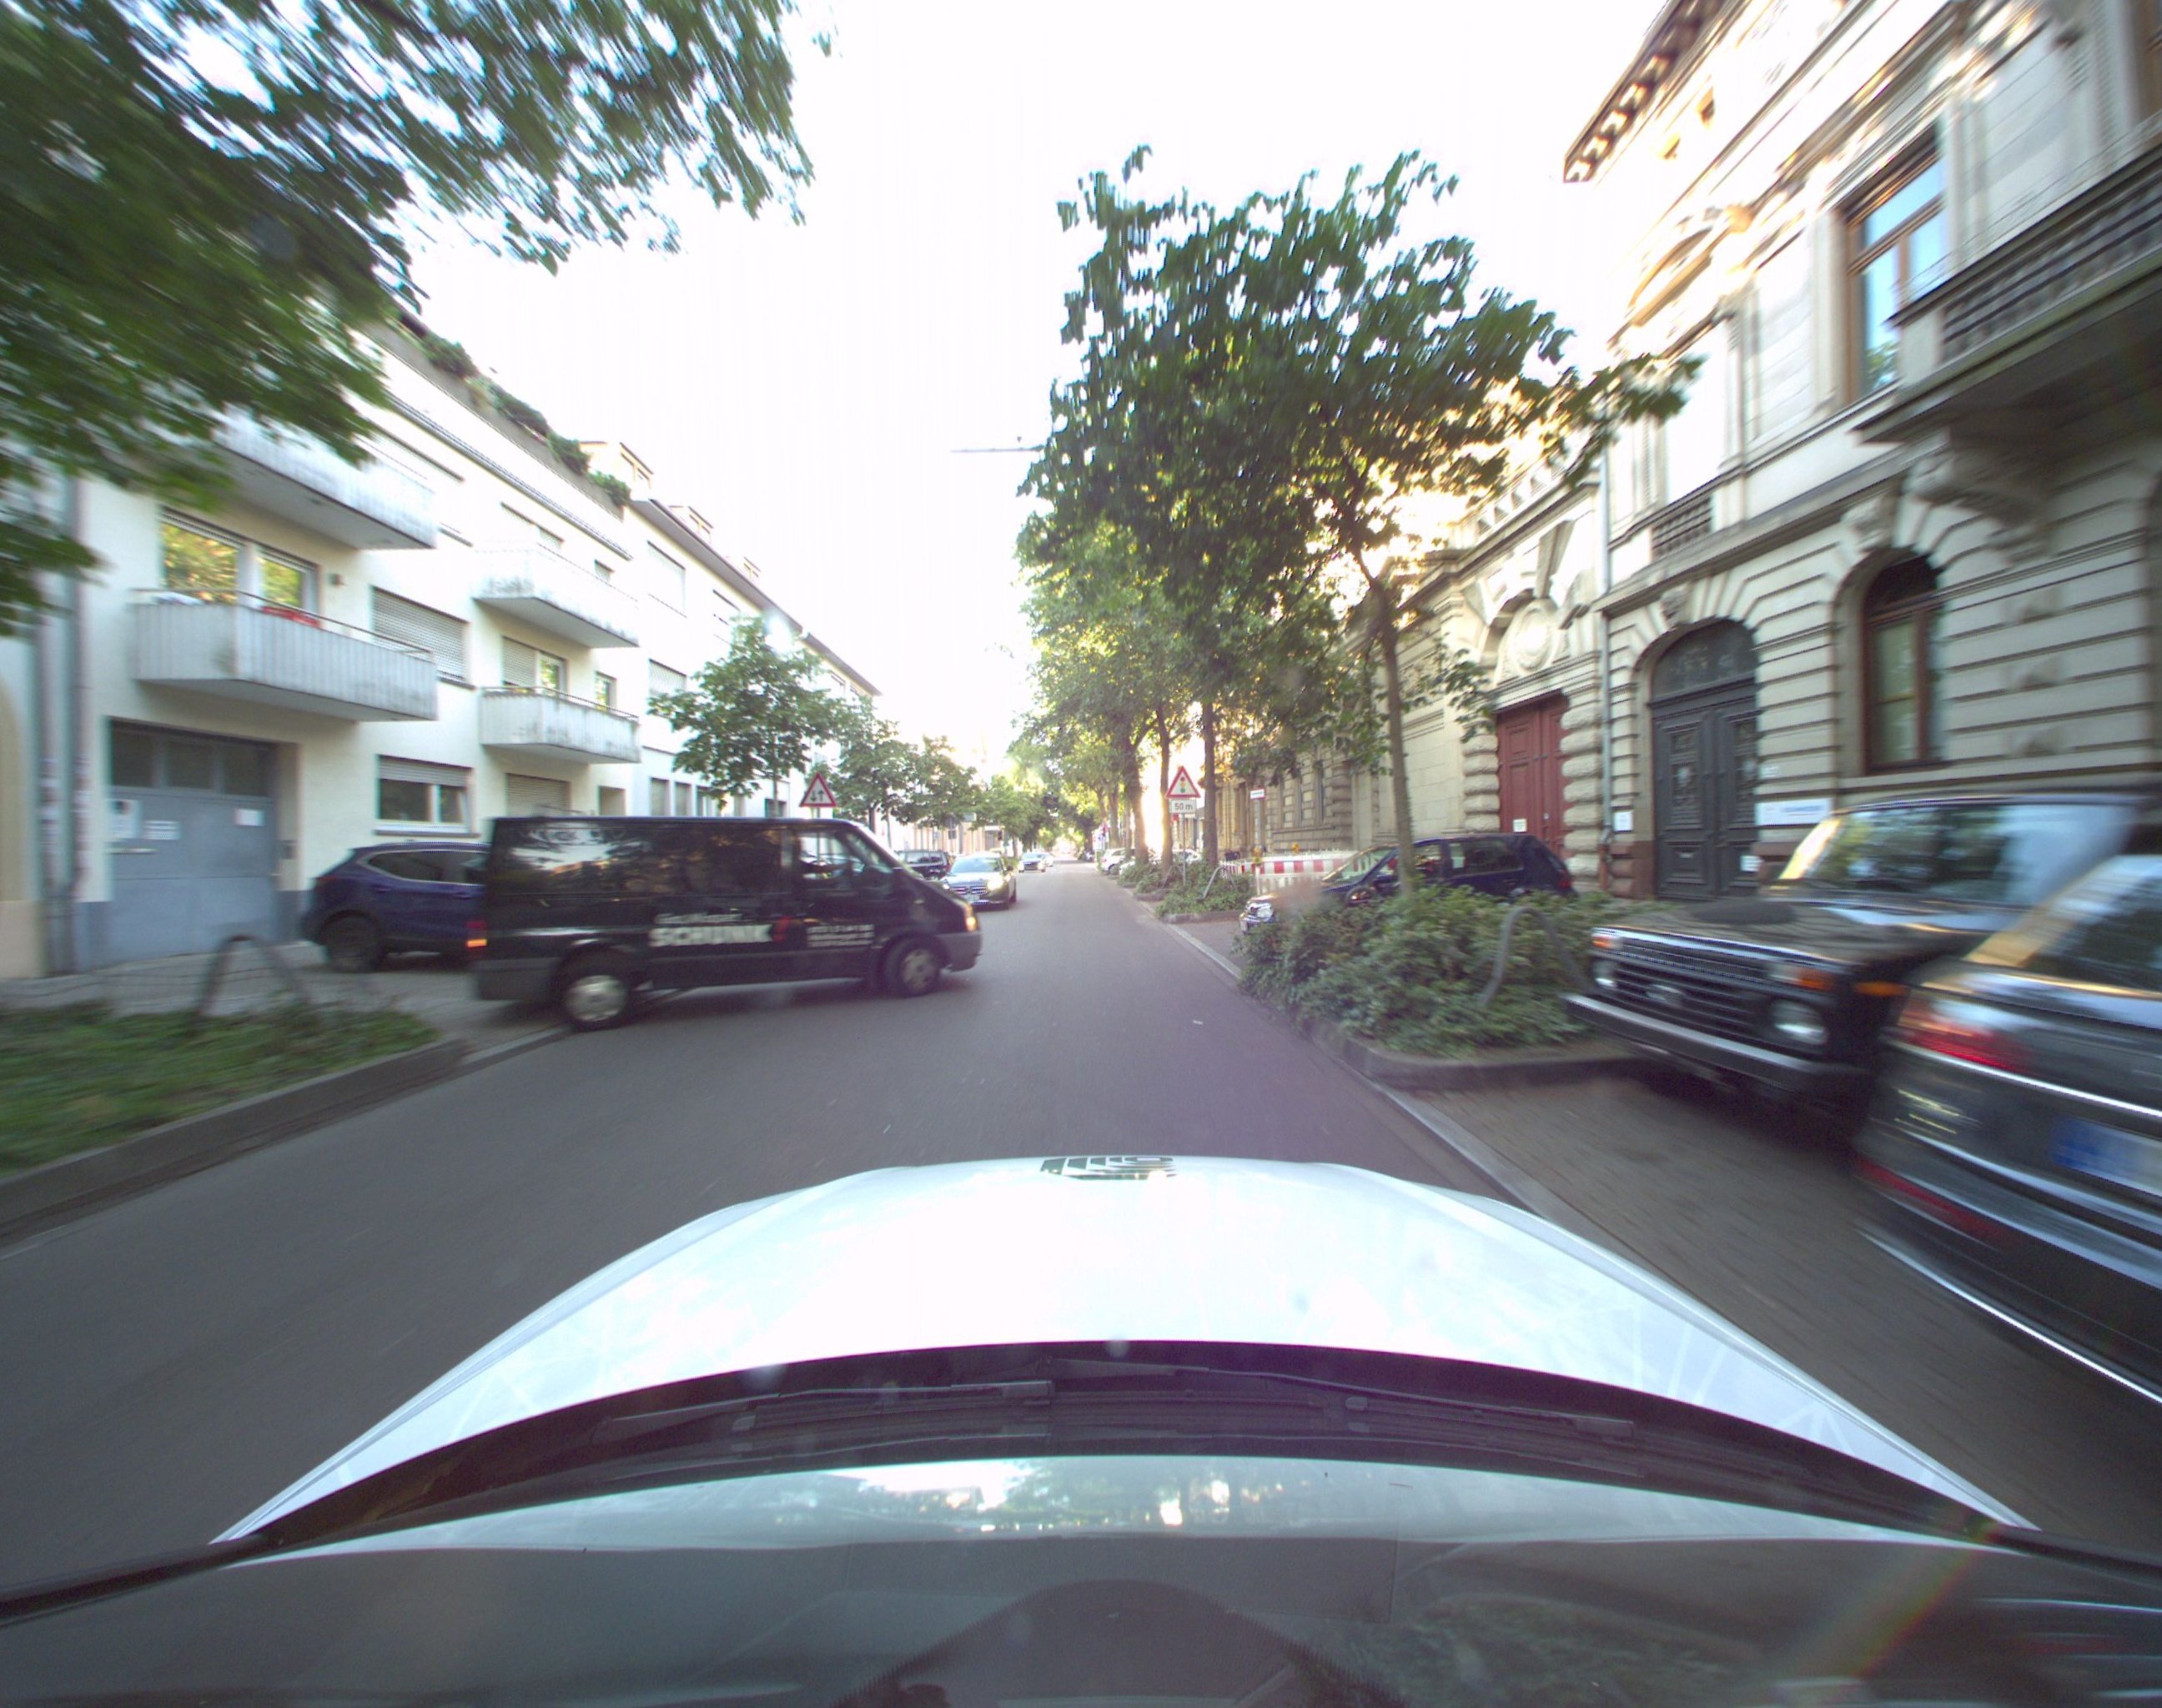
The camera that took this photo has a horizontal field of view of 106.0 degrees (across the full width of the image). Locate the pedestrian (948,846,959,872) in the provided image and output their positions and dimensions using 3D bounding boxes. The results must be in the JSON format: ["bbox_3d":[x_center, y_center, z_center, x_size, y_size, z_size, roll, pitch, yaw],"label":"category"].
[{"bbox_3d":[-8.978,0.337,57.313,0.550,1.850,0.614,-1,0,14],"label":"pedestrian"}]

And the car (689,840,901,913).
[{"bbox_3d":[-7.170,0.548,20.849,4.653,1.765,2.155,0,0,-2],"label":"car"}]

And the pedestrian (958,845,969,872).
[{"bbox_3d":[-8.223,0.323,57.175,0.550,1.850,0.614,-1,0,13],"label":"pedestrian"}]

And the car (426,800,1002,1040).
[{"bbox_3d":[-3.602,0.483,8.855,5.013,1.990,2.172,-2,1,-24],"label":"car"}]

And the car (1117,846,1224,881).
[{"bbox_3d":[3.960,0.410,36.588,4.568,1.437,1.925,-2,0,0],"label":"car"}]

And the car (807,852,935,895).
[{"bbox_3d":[-7.395,0.664,28.969,4.062,1.440,1.755,1,0,0],"label":"car"}]

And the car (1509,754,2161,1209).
[{"bbox_3d":[4.579,0.433,4.027,3.996,1.687,1.764,-2,1,-1],"label":"car"}]

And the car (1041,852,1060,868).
[{"bbox_3d":[-3.099,0.559,83.406,1.872,1.549,4.272,-2,0,-2],"label":"car"}]

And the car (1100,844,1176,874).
[{"bbox_3d":[3.254,0.291,46.846,4.208,1.560,1.972,-2,1,2],"label":"car"}]

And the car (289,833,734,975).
[{"bbox_3d":[-7.150,0.591,10.617,4.342,1.573,1.930,2,0,-1],"label":"car"}]

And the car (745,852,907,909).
[{"bbox_3d":[-7.207,0.725,23.256,4.013,1.494,1.781,1,0,2],"label":"car"}]

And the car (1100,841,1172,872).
[{"bbox_3d":[3.633,0.154,54.468,4.531,1.914,1.948,-2,0,-4],"label":"car"}]

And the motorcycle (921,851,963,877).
[{"bbox_3d":[-7.850,0.550,45.997,2.130,1.419,0.973,-2,0,20],"label":"motorcycle"}]

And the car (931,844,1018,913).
[{"bbox_3d":[-2.818,0.602,22.476,1.872,1.640,4.642,-2,0,-2],"label":"car"}]

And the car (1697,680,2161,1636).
[{"bbox_3d":[4.127,0.455,1.540,4.427,1.717,1.967,-3,-1,-1],"label":"car"}]

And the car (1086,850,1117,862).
[{"bbox_3d":[2.813,0.214,113.023,4.181,1.480,1.851,-3,0,-2],"label":"car"}]

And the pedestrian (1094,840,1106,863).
[{"bbox_3d":[1.772,-0.261,76.648,1.040,2.146,1.063,0,-1,-1],"label":"pedestrian"}]

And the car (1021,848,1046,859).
[{"bbox_3d":[-9.644,-0.011,166.592,5.050,2.083,2.262,-2,0,-2],"label":"car"}]

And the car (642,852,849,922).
[{"bbox_3d":[-7.371,0.701,18.208,3.834,1.450,1.854,0,1,-1],"label":"car"}]

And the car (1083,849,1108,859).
[{"bbox_3d":[2.322,-0.009,134.173,4.004,1.623,1.779,-2,0,-3],"label":"car"}]

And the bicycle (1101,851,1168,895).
[{"bbox_3d":[1.661,0.584,25.436,2.041,1.360,0.508,0,0,-3],"label":"bicycle"}]

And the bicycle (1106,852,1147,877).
[{"bbox_3d":[2.360,0.541,42.102,2.022,1.204,0.486,-3,0,-14],"label":"bicycle"}]

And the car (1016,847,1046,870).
[{"bbox_3d":[-3.550,0.313,58.143,1.871,1.549,4.273,-2,0,-1],"label":"car"}]

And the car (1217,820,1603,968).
[{"bbox_3d":[4.079,0.468,10.601,4.212,1.481,1.854,-4,0,-1],"label":"car"}]

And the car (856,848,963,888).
[{"bbox_3d":[-7.179,0.578,34.425,4.080,1.632,1.936,0,0,0],"label":"car"}]
